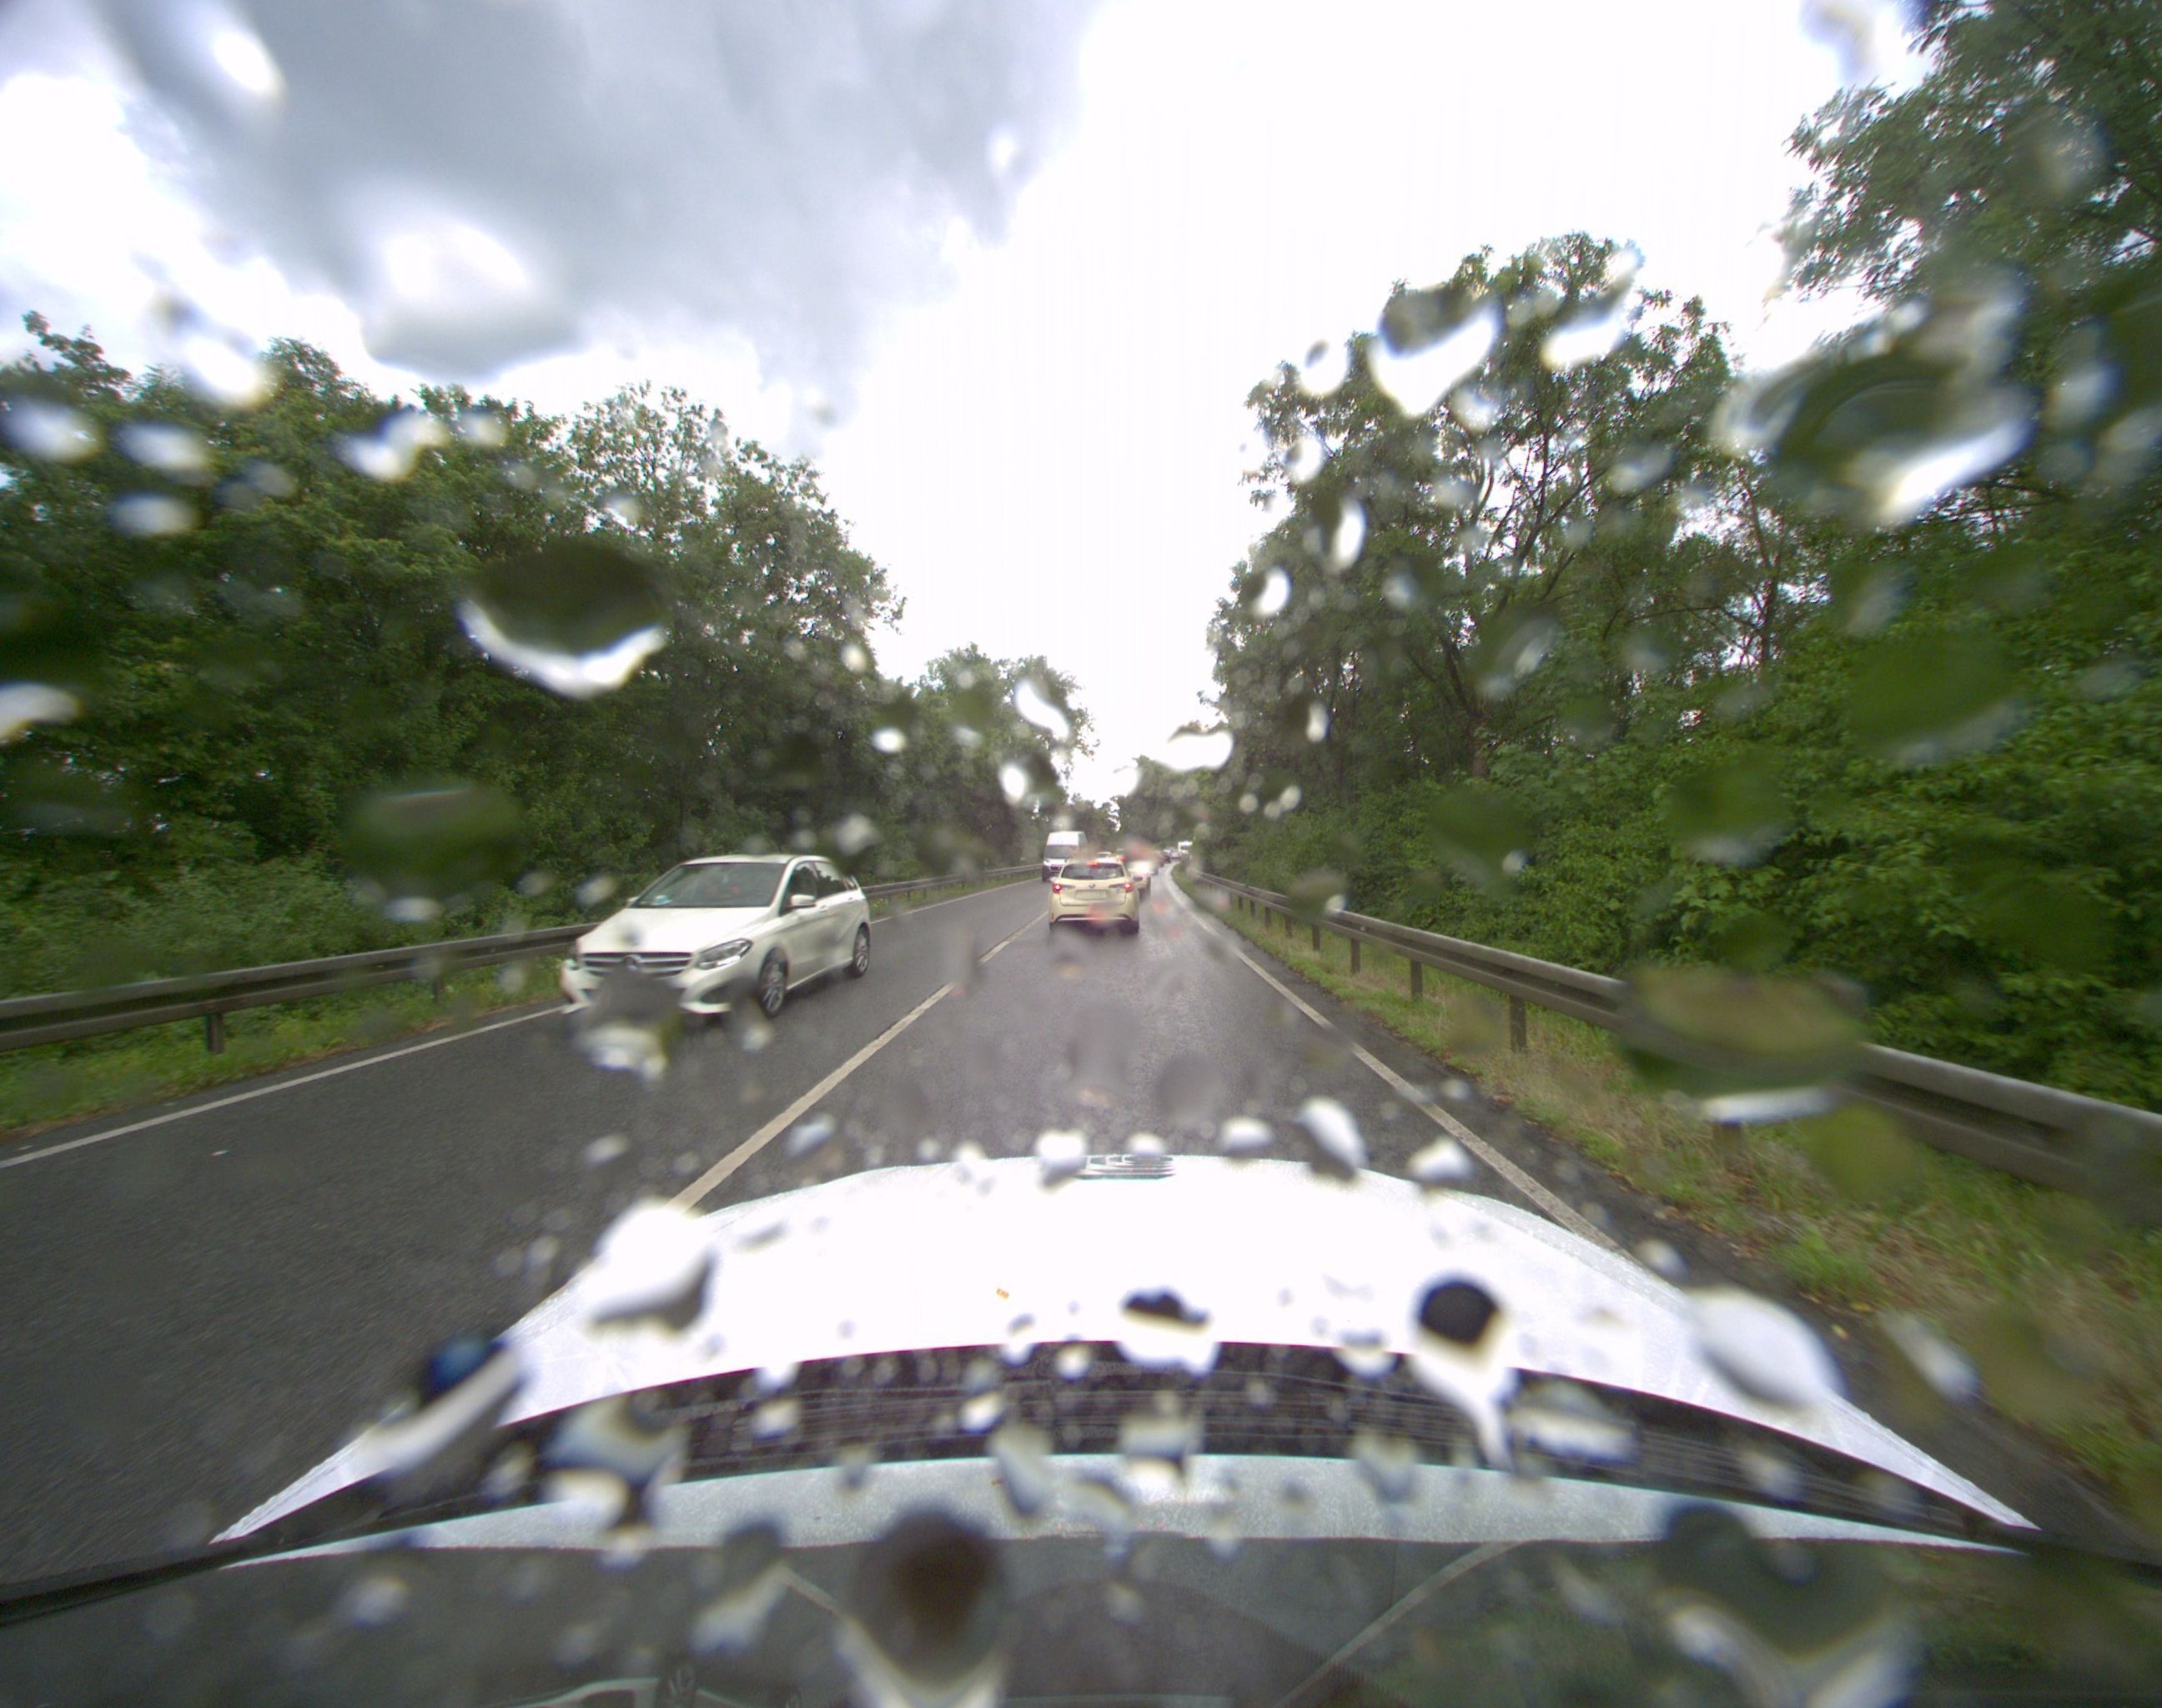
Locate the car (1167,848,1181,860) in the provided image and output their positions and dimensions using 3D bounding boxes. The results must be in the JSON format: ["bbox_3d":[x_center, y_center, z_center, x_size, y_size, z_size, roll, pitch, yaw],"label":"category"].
[{"bbox_3d":[12.935,-0.020,113.028,1.759,1.547,3.824,-1,-1,10],"label":"car"}]

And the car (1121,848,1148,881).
[{"bbox_3d":[2.635,0.523,40.451,1.295,1.547,3.262,-1,-1,3],"label":"car"}]

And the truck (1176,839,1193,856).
[{"bbox_3d":[17.280,-0.982,136.425,2.537,2.713,7.545,-1,-1,5],"label":"truck"}]

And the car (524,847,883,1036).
[{"bbox_3d":[-3.664,0.716,8.940,1.685,1.555,4.445,-1,0,3],"label":"car"}]

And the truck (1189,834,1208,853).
[{"bbox_3d":[23.648,-2.007,163.923,3.085,3.680,7.026,-1,-1,14],"label":"truck"}]

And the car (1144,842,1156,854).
[{"bbox_3d":[11.774,-1.019,139.091,1.983,2.014,4.007,-1,-1,6],"label":"car"}]

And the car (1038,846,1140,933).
[{"bbox_3d":[0.291,0.679,17.056,1.825,1.580,4.161,-1,-1,4],"label":"car"}]

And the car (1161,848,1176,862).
[{"bbox_3d":[10.130,0.135,94.322,1.608,1.613,3.627,-1,-1,6],"label":"car"}]

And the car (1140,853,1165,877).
[{"bbox_3d":[4.861,0.734,55.702,1.604,1.547,3.817,-1,-1,4],"label":"car"}]

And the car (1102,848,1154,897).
[{"bbox_3d":[1.664,0.636,28.385,1.660,1.580,3.896,-1,-1,4],"label":"car"}]

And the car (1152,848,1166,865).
[{"bbox_3d":[7.272,0.277,76.017,1.161,1.547,2.609,-1,-1,7],"label":"car"}]

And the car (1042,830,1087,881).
[{"bbox_3d":[-0.846,0.094,46.202,2.039,2.676,6.177,-1,-1,4],"label":"car"}]
